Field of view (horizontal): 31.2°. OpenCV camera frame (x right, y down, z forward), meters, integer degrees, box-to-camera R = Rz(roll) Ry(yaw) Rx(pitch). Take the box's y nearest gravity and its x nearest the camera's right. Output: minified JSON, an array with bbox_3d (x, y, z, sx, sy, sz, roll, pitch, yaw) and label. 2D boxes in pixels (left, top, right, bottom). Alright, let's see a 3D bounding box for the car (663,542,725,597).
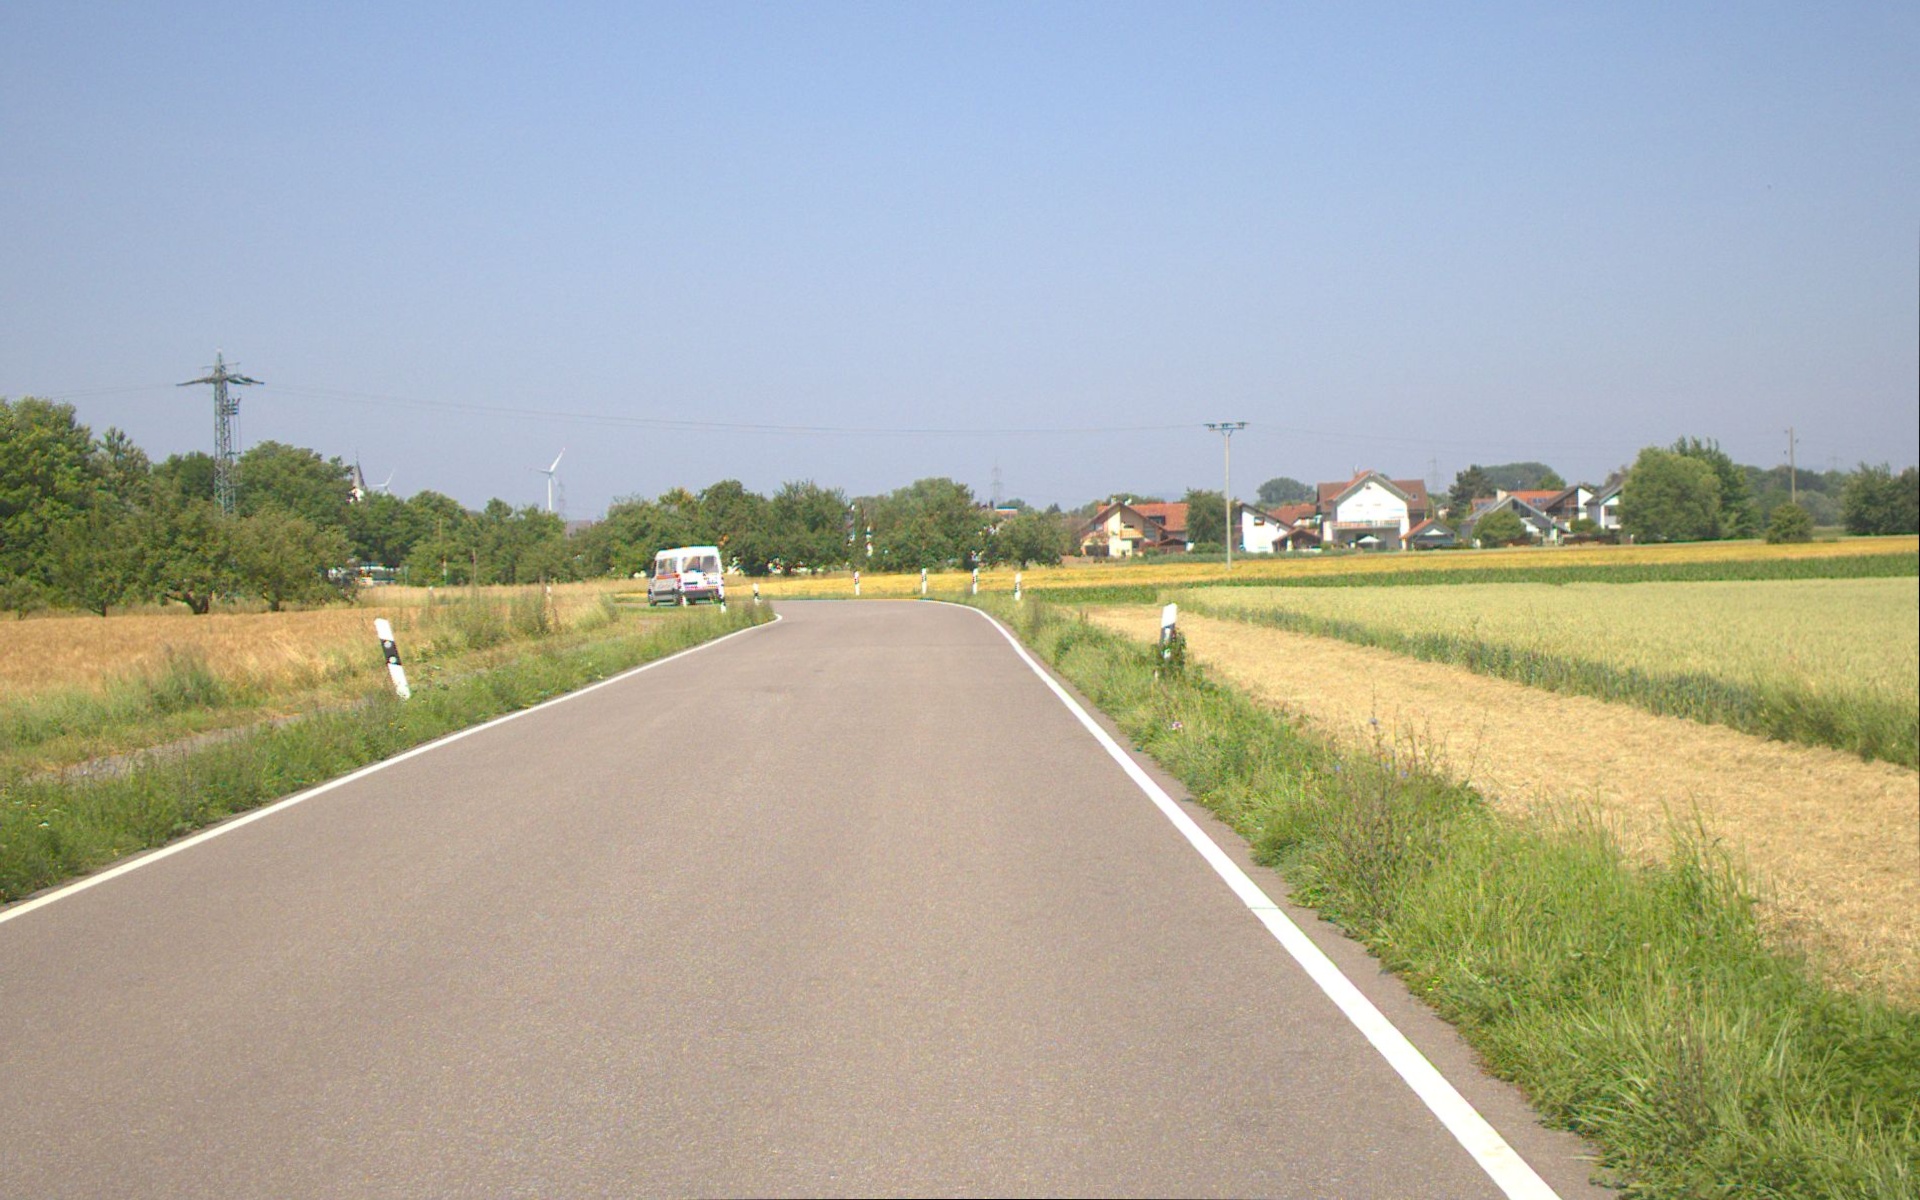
[{"bbox_3d":[-11.465,-1.323,147.905,2.106,2.296,5.497,0,1,-10],"label":"car"}]
